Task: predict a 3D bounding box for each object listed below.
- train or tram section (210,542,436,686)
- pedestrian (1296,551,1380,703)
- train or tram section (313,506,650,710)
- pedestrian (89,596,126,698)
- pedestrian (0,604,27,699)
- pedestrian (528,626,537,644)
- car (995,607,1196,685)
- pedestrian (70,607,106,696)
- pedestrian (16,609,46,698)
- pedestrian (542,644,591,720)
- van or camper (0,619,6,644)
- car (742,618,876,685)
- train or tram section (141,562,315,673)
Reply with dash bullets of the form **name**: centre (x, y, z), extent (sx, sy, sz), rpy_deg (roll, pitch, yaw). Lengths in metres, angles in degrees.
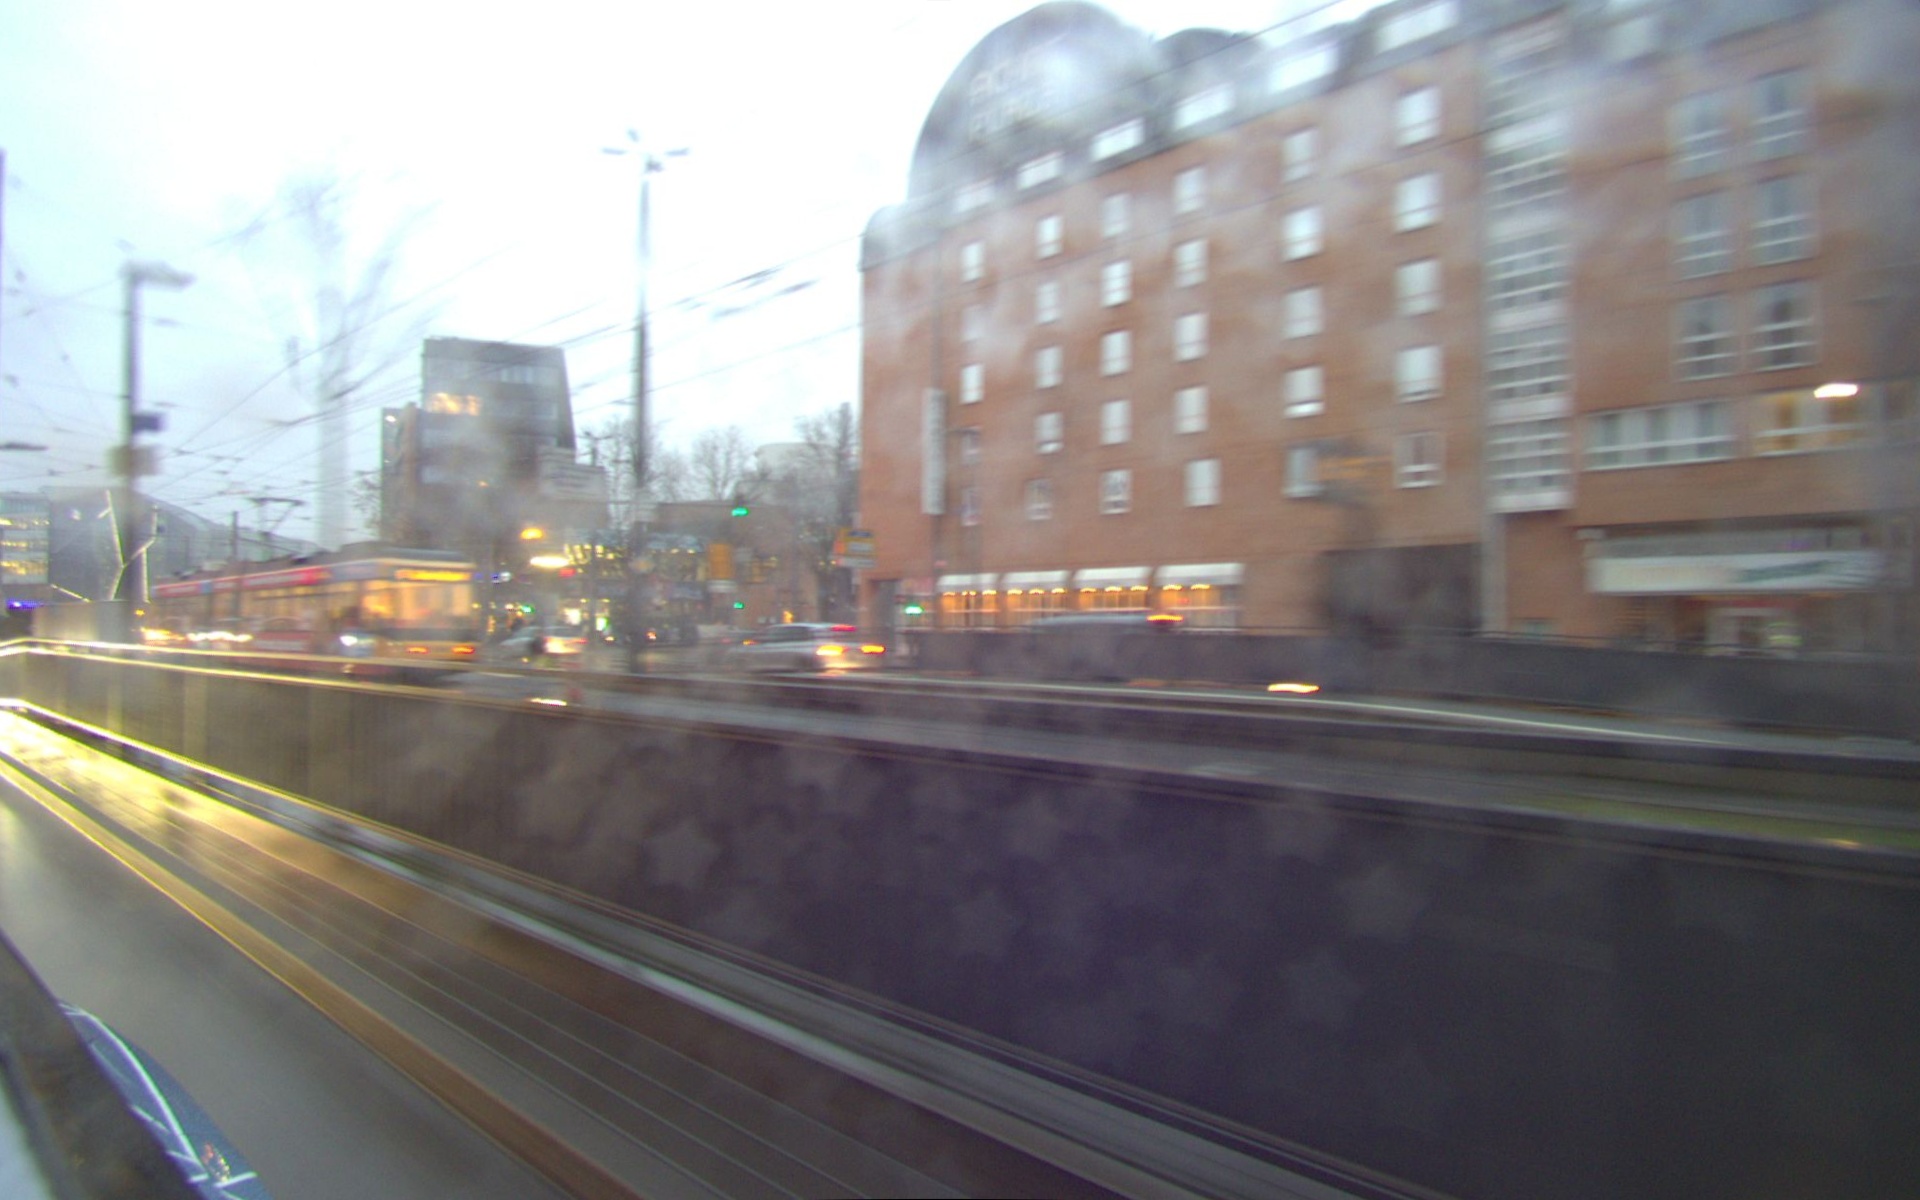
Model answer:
- **train or tram section**: centre (-19.264, 0.446, 30.123), extent (11.033, 3.605, 2.893), rpy_deg (-1, -1, 43)
- **pedestrian**: centre (4.930, 0.347, 13.181), extent (0.793, 1.901, 0.872), rpy_deg (-1, -2, 37)
- **train or tram section**: centre (-11.160, 0.233, 22.655), extent (11.033, 3.595, 2.868), rpy_deg (-1, -1, 43)
- **pedestrian**: centre (-16.771, 0.918, 19.905), extent (0.472, 1.982, 0.429), rpy_deg (-1, -2, 37)
- **pedestrian**: centre (-18.878, 1.015, 20.079), extent (0.668, 1.859, 0.408), rpy_deg (-1, -2, 37)
- **pedestrian**: centre (-41.021, 3.358, 97.095), extent (0.715, 1.721, 0.696), rpy_deg (2, -3, -29)
- **car**: centre (2.570, 0.835, 19.628), extent (3.544, 1.364, 1.664), rpy_deg (-1, -1, 41)
- **pedestrian**: centre (-17.284, 1.012, 20.057), extent (0.472, 1.748, 0.429), rpy_deg (-1, -2, 37)
- **pedestrian**: centre (-19.134, 1.100, 20.844), extent (0.439, 1.800, 0.356), rpy_deg (-1, -2, 37)
- **pedestrian**: centre (-6.254, 1.291, 16.085), extent (0.490, 1.161, 0.573), rpy_deg (-2, -1, 43)
- **van or camper**: centre (-90.278, 2.919, 93.480), extent (2.150, 2.370, 5.665), rpy_deg (-1, -1, -33)
- **car**: centre (-3.776, 1.216, 25.063), extent (3.324, 1.528, 1.501), rpy_deg (-1, -1, 41)
- **train or tram section**: centre (-27.781, 0.674, 38.027), extent (12.253, 3.616, 2.918), rpy_deg (-1, -1, 43)
